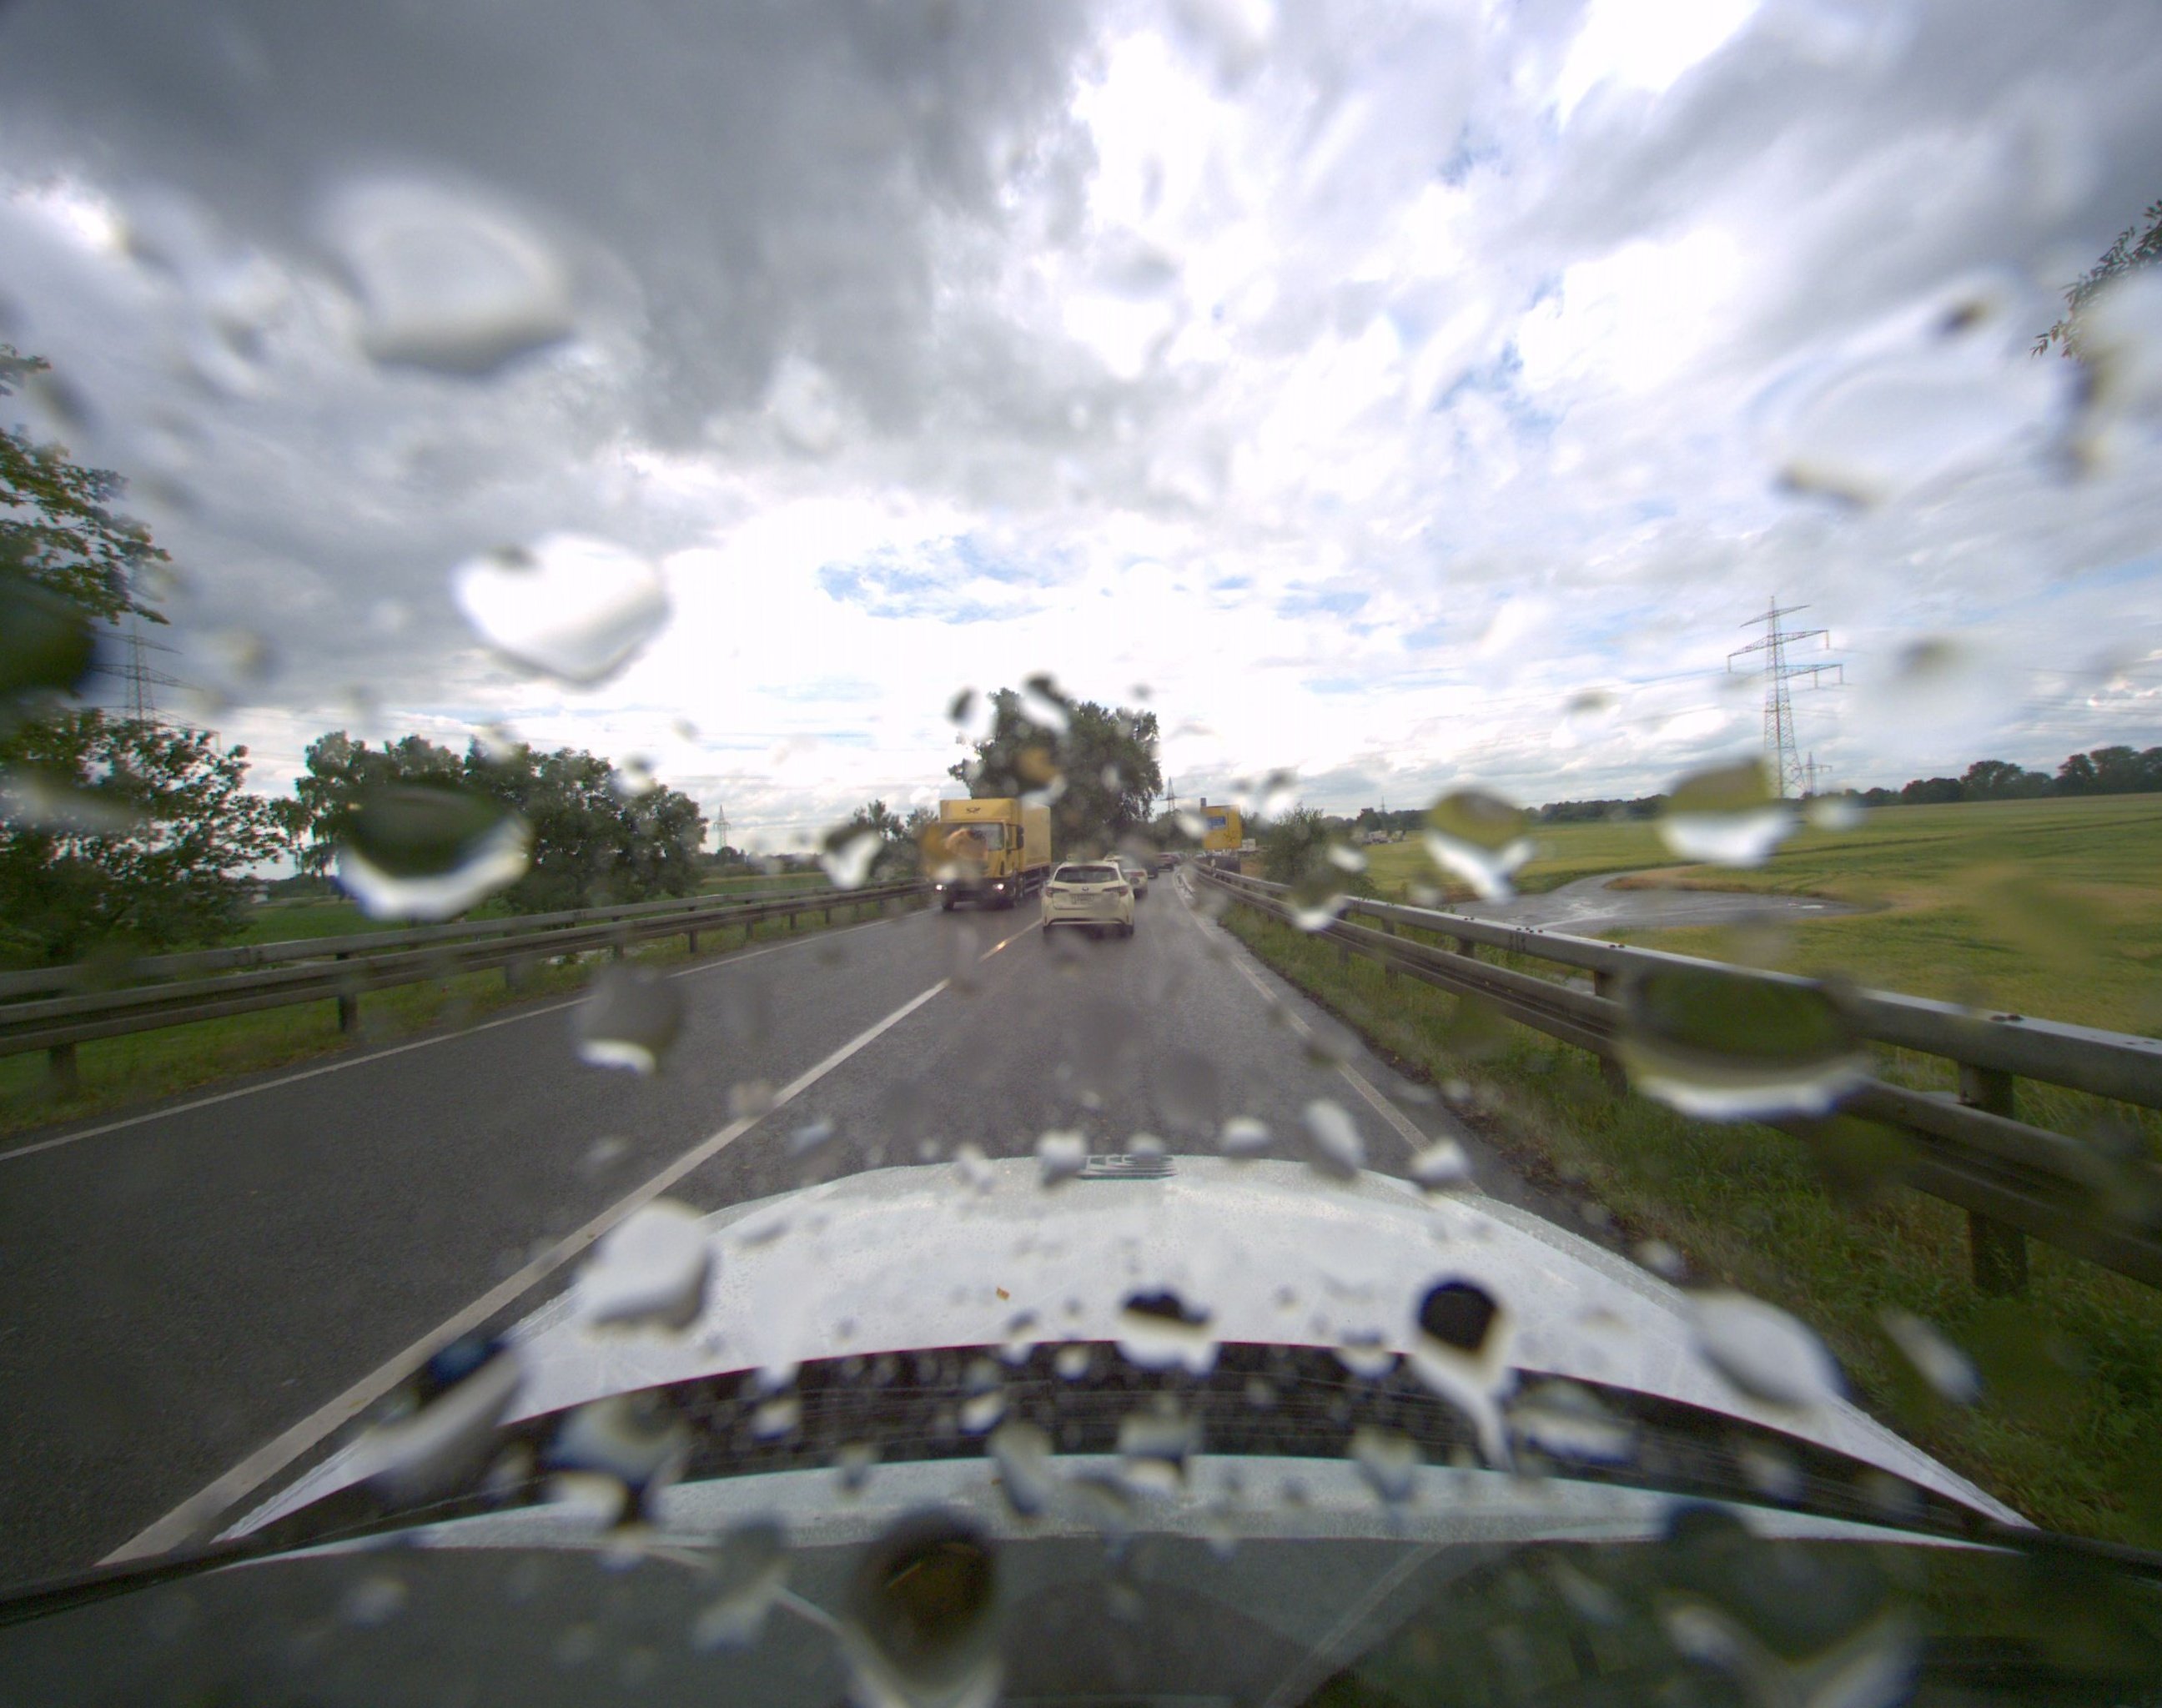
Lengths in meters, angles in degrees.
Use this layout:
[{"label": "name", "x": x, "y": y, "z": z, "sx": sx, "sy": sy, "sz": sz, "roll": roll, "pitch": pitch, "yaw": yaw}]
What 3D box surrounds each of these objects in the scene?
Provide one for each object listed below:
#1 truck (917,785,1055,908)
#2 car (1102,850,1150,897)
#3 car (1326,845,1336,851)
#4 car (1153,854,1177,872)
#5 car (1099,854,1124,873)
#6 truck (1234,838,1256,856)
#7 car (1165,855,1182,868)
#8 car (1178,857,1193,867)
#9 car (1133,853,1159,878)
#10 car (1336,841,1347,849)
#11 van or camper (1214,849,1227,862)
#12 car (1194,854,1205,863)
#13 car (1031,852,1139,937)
[{"label": "truck", "x": -2.807, "y": -0.189, "z": 27.413, "sx": 2.757, "sy": 3.429, "sz": 9.200, "roll": 0, "pitch": 0, "yaw": 5}, {"label": "car", "x": 1.669, "y": 0.673, "z": 29.285, "sx": 1.570, "sy": 1.572, "sz": 3.686, "roll": -1, "pitch": 0, "yaw": 5}, {"label": "car", "x": 70.523, "y": -1.683, "z": 229.692, "sx": 1.801, "sy": 1.838, "sz": 4.014, "roll": -1, "pitch": -1, "yaw": 32}, {"label": "car", "x": 6.814, "y": 0.716, "z": 65.918, "sx": 1.655, "sy": 1.464, "sz": 3.486, "roll": -1, "pitch": 0, "yaw": 9}, {"label": "car", "x": 2.784, "y": 0.837, "z": 73.920, "sx": 1.736, "sy": 1.653, "sz": 4.535, "roll": -1, "pitch": 0, "yaw": 8}, {"label": "truck", "x": 33.924, "y": -1.424, "z": 168.311, "sx": 3.112, "sy": 3.562, "sz": 7.562, "roll": -1, "pitch": -1, "yaw": 23}, {"label": "car", "x": 10.636, "y": 0.839, "z": 93.634, "sx": 1.650, "sy": 1.409, "sz": 3.915, "roll": -1, "pitch": -1, "yaw": 10}, {"label": "car", "x": 13.676, "y": 1.073, "z": 106.541, "sx": 1.472, "sy": 1.309, "sz": 3.490, "roll": -1, "pitch": 0, "yaw": 14}, {"label": "car", "x": 3.955, "y": 0.692, "z": 49.458, "sx": 1.498, "sy": 1.437, "sz": 3.361, "roll": -1, "pitch": 0, "yaw": 6}, {"label": "car", "x": 75.592, "y": -2.637, "z": 235.979, "sx": 1.974, "sy": 2.014, "sz": 4.025, "roll": -1, "pitch": -1, "yaw": 33}, {"label": "van or camper", "x": 24.564, "y": 0.251, "z": 143.441, "sx": 1.979, "sy": 2.254, "sz": 4.015, "roll": -1, "pitch": -1, "yaw": 14}, {"label": "car", "x": 18.010, "y": 0.621, "z": 123.760, "sx": 1.472, "sy": 1.309, "sz": 3.489, "roll": -1, "pitch": 0, "yaw": 12}, {"label": "car", "x": 0.222, "y": 0.751, "z": 16.966, "sx": 1.897, "sy": 1.537, "sz": 4.167, "roll": -1, "pitch": 0, "yaw": 5}]
